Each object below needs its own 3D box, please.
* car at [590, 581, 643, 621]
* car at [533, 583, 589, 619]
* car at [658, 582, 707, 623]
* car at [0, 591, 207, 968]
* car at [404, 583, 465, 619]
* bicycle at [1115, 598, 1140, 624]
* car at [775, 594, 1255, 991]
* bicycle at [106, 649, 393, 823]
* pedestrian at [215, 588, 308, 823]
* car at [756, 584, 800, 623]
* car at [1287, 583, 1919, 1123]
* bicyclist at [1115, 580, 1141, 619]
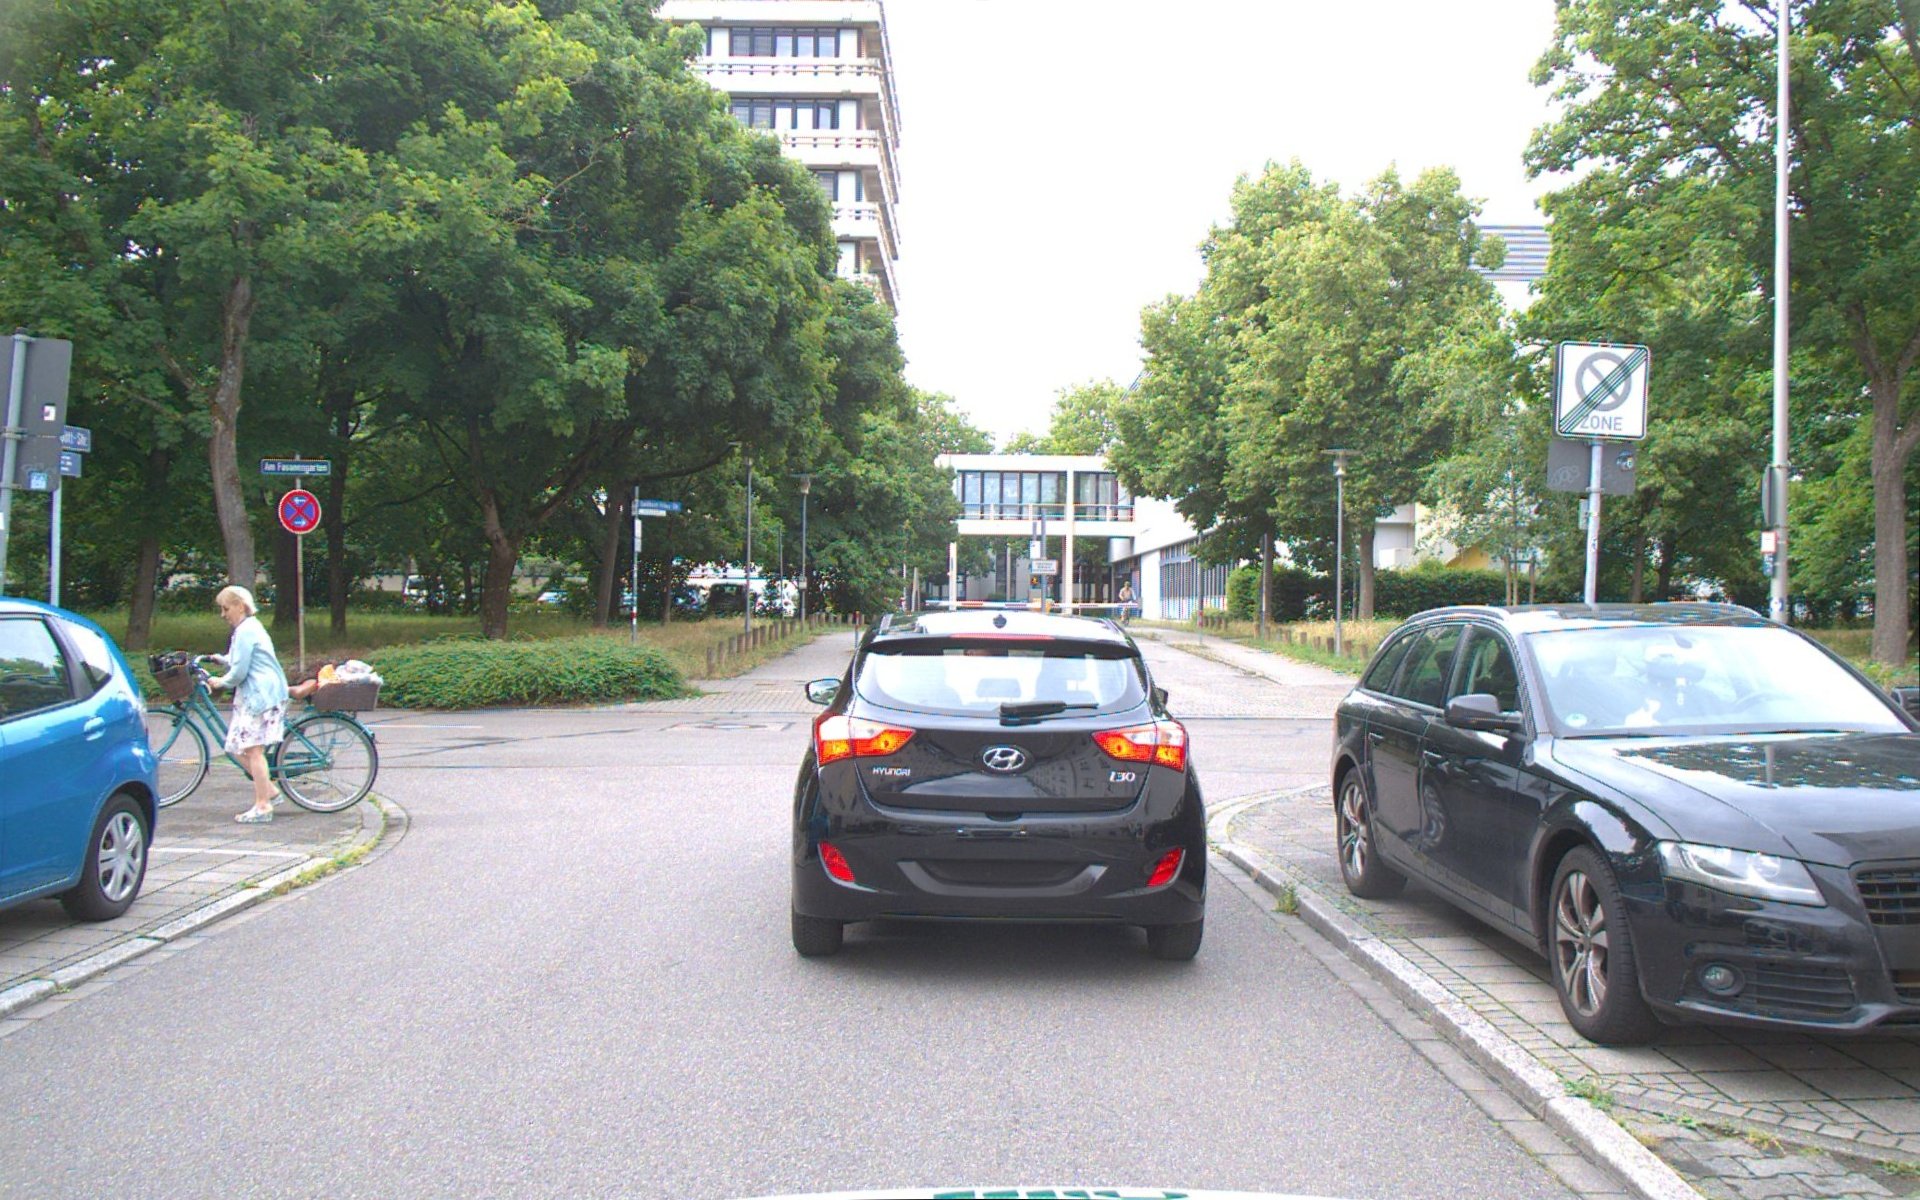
[{"bbox_3d":[-16.172,0.079,78.124,1.954,1.758,3.995,0,-2,-5],"label":"car"},{"bbox_3d":[-18.838,0.046,78.151,1.954,1.646,3.996,0,0,-5],"label":"car"},{"bbox_3d":[-13.133,0.125,78.500,1.954,1.825,3.995,0,-2,-5],"label":"car"},{"bbox_3d":[-4.712,0.712,6.506,1.695,1.488,3.956,3,0,-1],"label":"car"},{"bbox_3d":[-24.925,0.065,78.583,1.880,1.646,3.996,0,0,-5],"label":"car"},{"bbox_3d":[7.198,0.469,71.039,0.849,1.093,2.142,0,1,0],"label":"bicycle"},{"bbox_3d":[0.119,0.745,8.180,1.809,1.488,3.825,1,0,-3],"label":"car"},{"bbox_3d":[-4.983,0.944,11.670,1.788,1.139,0.534,2,0,-25],"label":"bicycle"},{"bbox_3d":[-4.818,0.705,11.402,0.559,1.577,0.444,0,0,-27],"label":"pedestrian"},{"bbox_3d":[-8.632,0.188,78.632,1.954,1.793,3.996,0,-1,-5],"label":"car"},{"bbox_3d":[2.868,0.687,6.989,1.823,1.488,4.723,0,0,-3],"label":"car"},{"bbox_3d":[7.210,-0.029,70.991,0.996,1.673,0.923,0,0,0],"label":"bicyclist"}]
